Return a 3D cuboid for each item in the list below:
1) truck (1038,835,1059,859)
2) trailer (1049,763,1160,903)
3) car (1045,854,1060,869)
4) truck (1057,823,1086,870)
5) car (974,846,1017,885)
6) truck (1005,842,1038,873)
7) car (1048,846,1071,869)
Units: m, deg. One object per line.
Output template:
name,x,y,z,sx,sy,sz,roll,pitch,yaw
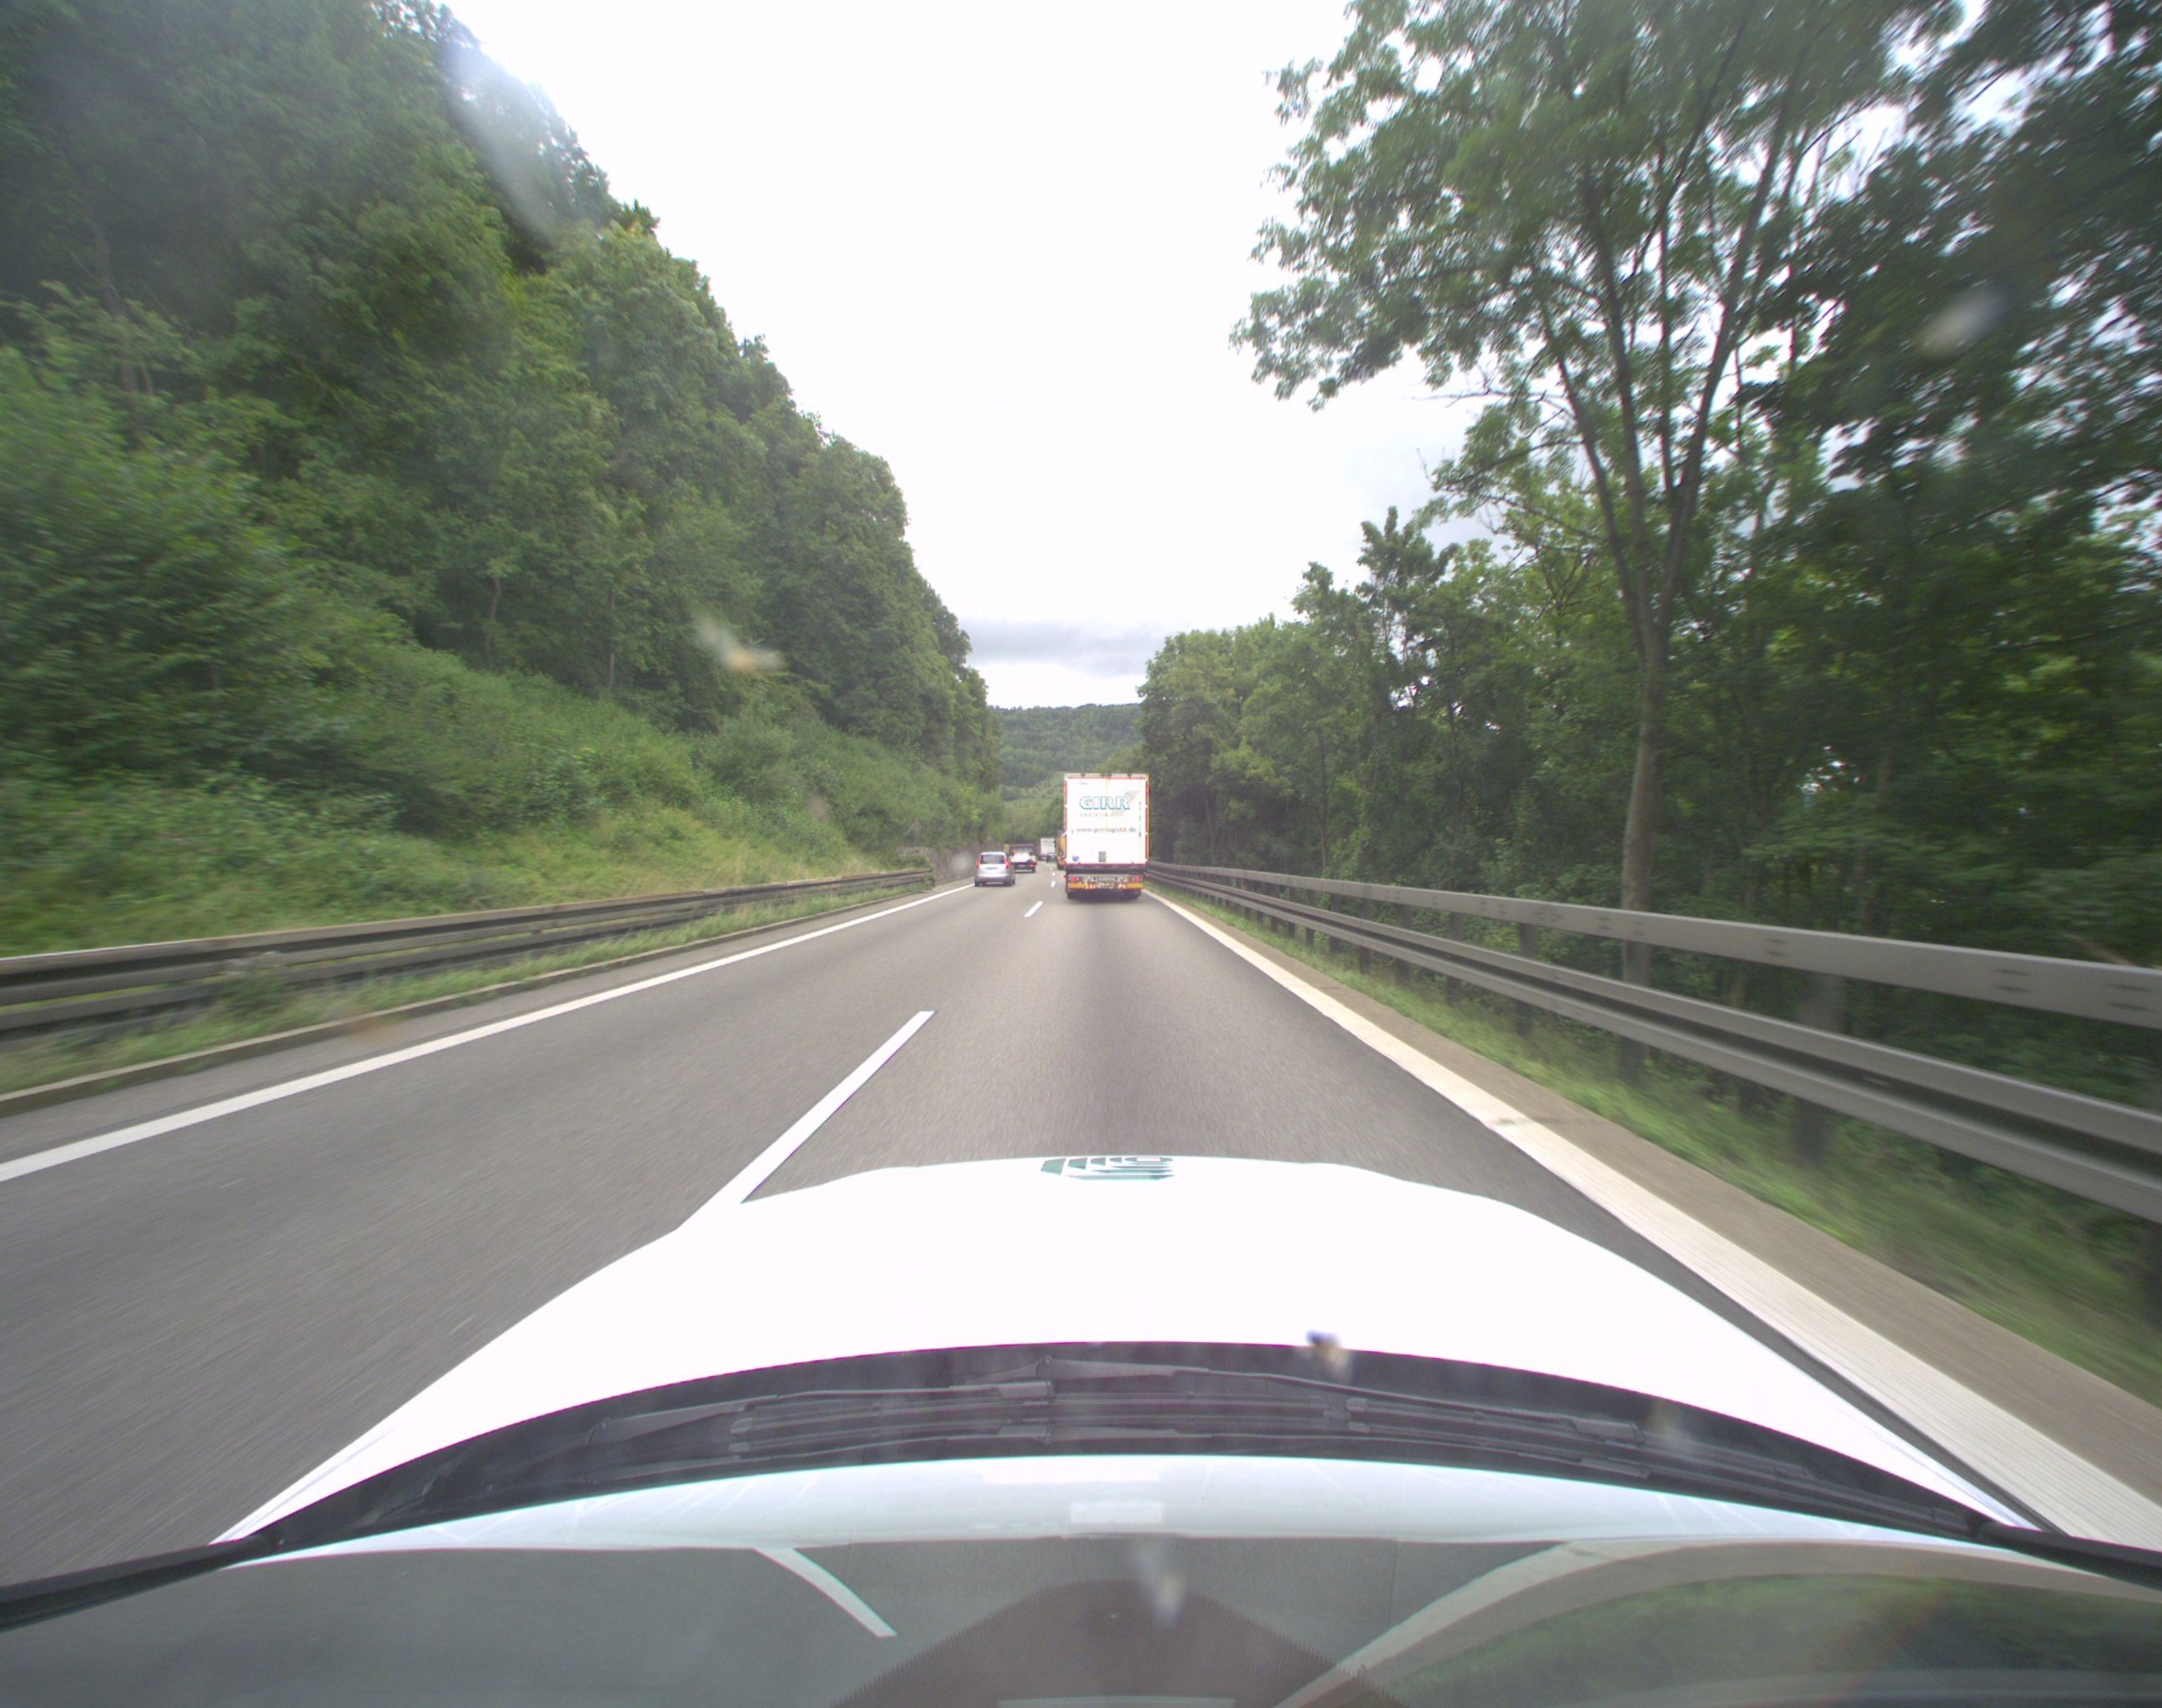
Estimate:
truck,-5.711,-1.144,140.712,3.064,3.877,8.442,2,-1,-5
trailer,0.635,-0.643,29.063,3.124,4.042,9.434,3,0,-1
car,-4.057,1.099,115.674,1.990,2.014,3.994,2,-1,-4
truck,-0.915,-0.588,71.100,2.228,3.804,6.816,2,-1,-3
car,-4.006,0.525,38.727,1.629,1.726,4.343,1,0,-1
truck,-4.658,0.272,64.548,2.344,2.274,6.841,2,0,-3
car,-2.085,0.333,77.971,1.990,2.014,4.326,2,-1,-4
